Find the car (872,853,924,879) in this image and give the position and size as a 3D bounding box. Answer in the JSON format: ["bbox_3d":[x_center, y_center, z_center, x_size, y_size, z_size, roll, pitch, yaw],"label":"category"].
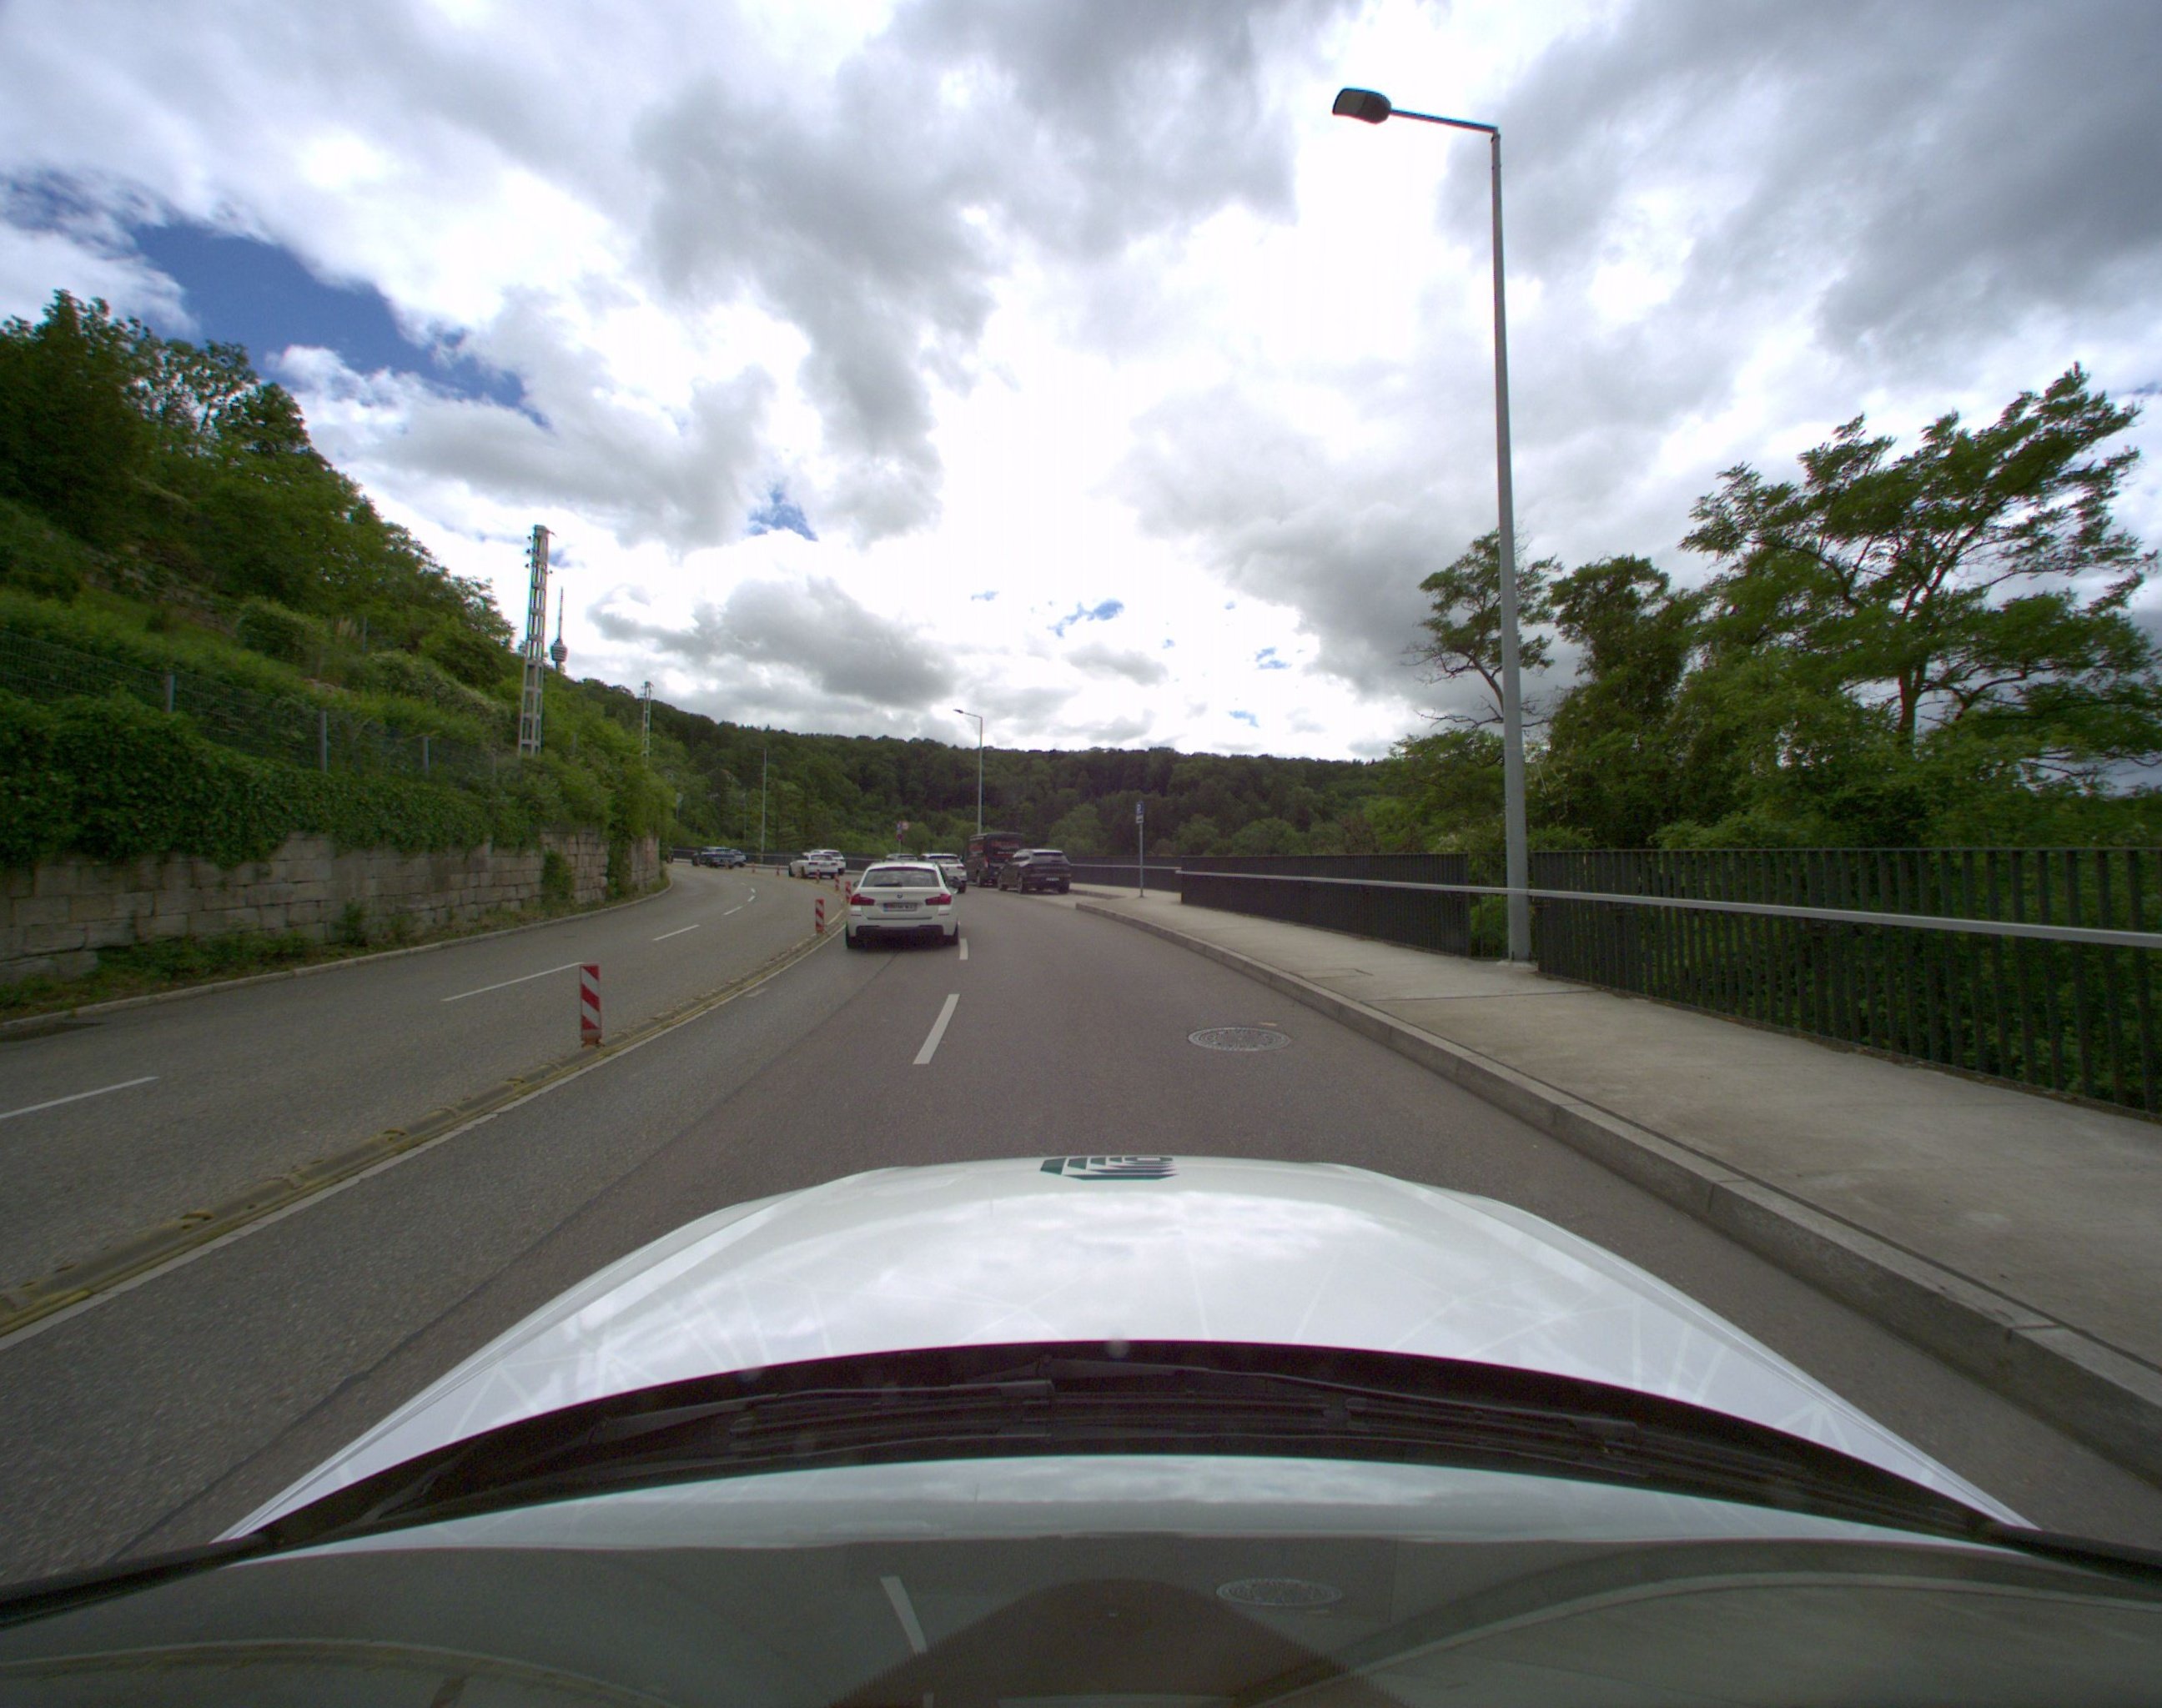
[{"bbox_3d":[-11.845,0.760,52.557,1.888,1.543,4.047,2,-1,-34],"label":"car"}]

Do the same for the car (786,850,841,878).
[{"bbox_3d":[-15.371,0.580,46.647,2.007,1.503,4.621,-1,0,-31],"label":"car"}]

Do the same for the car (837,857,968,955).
[{"bbox_3d":[-3.135,0.823,15.163,1.825,1.459,4.477,-2,0,-6],"label":"car"}]

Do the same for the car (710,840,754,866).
[{"bbox_3d":[-27.818,-0.064,64.820,2.011,2.014,3.951,0,-1,-43],"label":"car"}]

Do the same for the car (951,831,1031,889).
[{"bbox_3d":[-4.487,0.248,39.423,2.177,2.521,5.725,-2,1,-24],"label":"car"}]

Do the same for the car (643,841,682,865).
[{"bbox_3d":[-34.915,-0.062,67.859,1.886,1.762,3.951,3,-4,-42],"label":"car"}]

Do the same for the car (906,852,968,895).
[{"bbox_3d":[-5.938,0.779,33.213,1.834,1.606,3.973,-2,-1,-20],"label":"car"}]

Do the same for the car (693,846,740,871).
[{"bbox_3d":[-26.635,0.368,59.453,2.011,1.648,3.952,-2,-1,-41],"label":"car"}]

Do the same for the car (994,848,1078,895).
[{"bbox_3d":[-1.935,0.693,33.128,2.001,1.718,5.013,-1,-1,-21],"label":"car"}]

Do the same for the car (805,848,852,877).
[{"bbox_3d":[-16.608,0.575,53.465,2.007,1.718,4.072,-2,-1,-32],"label":"car"}]

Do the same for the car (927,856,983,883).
[{"bbox_3d":[-6.956,0.826,44.633,1.725,1.431,3.812,1,0,-31],"label":"car"}]
